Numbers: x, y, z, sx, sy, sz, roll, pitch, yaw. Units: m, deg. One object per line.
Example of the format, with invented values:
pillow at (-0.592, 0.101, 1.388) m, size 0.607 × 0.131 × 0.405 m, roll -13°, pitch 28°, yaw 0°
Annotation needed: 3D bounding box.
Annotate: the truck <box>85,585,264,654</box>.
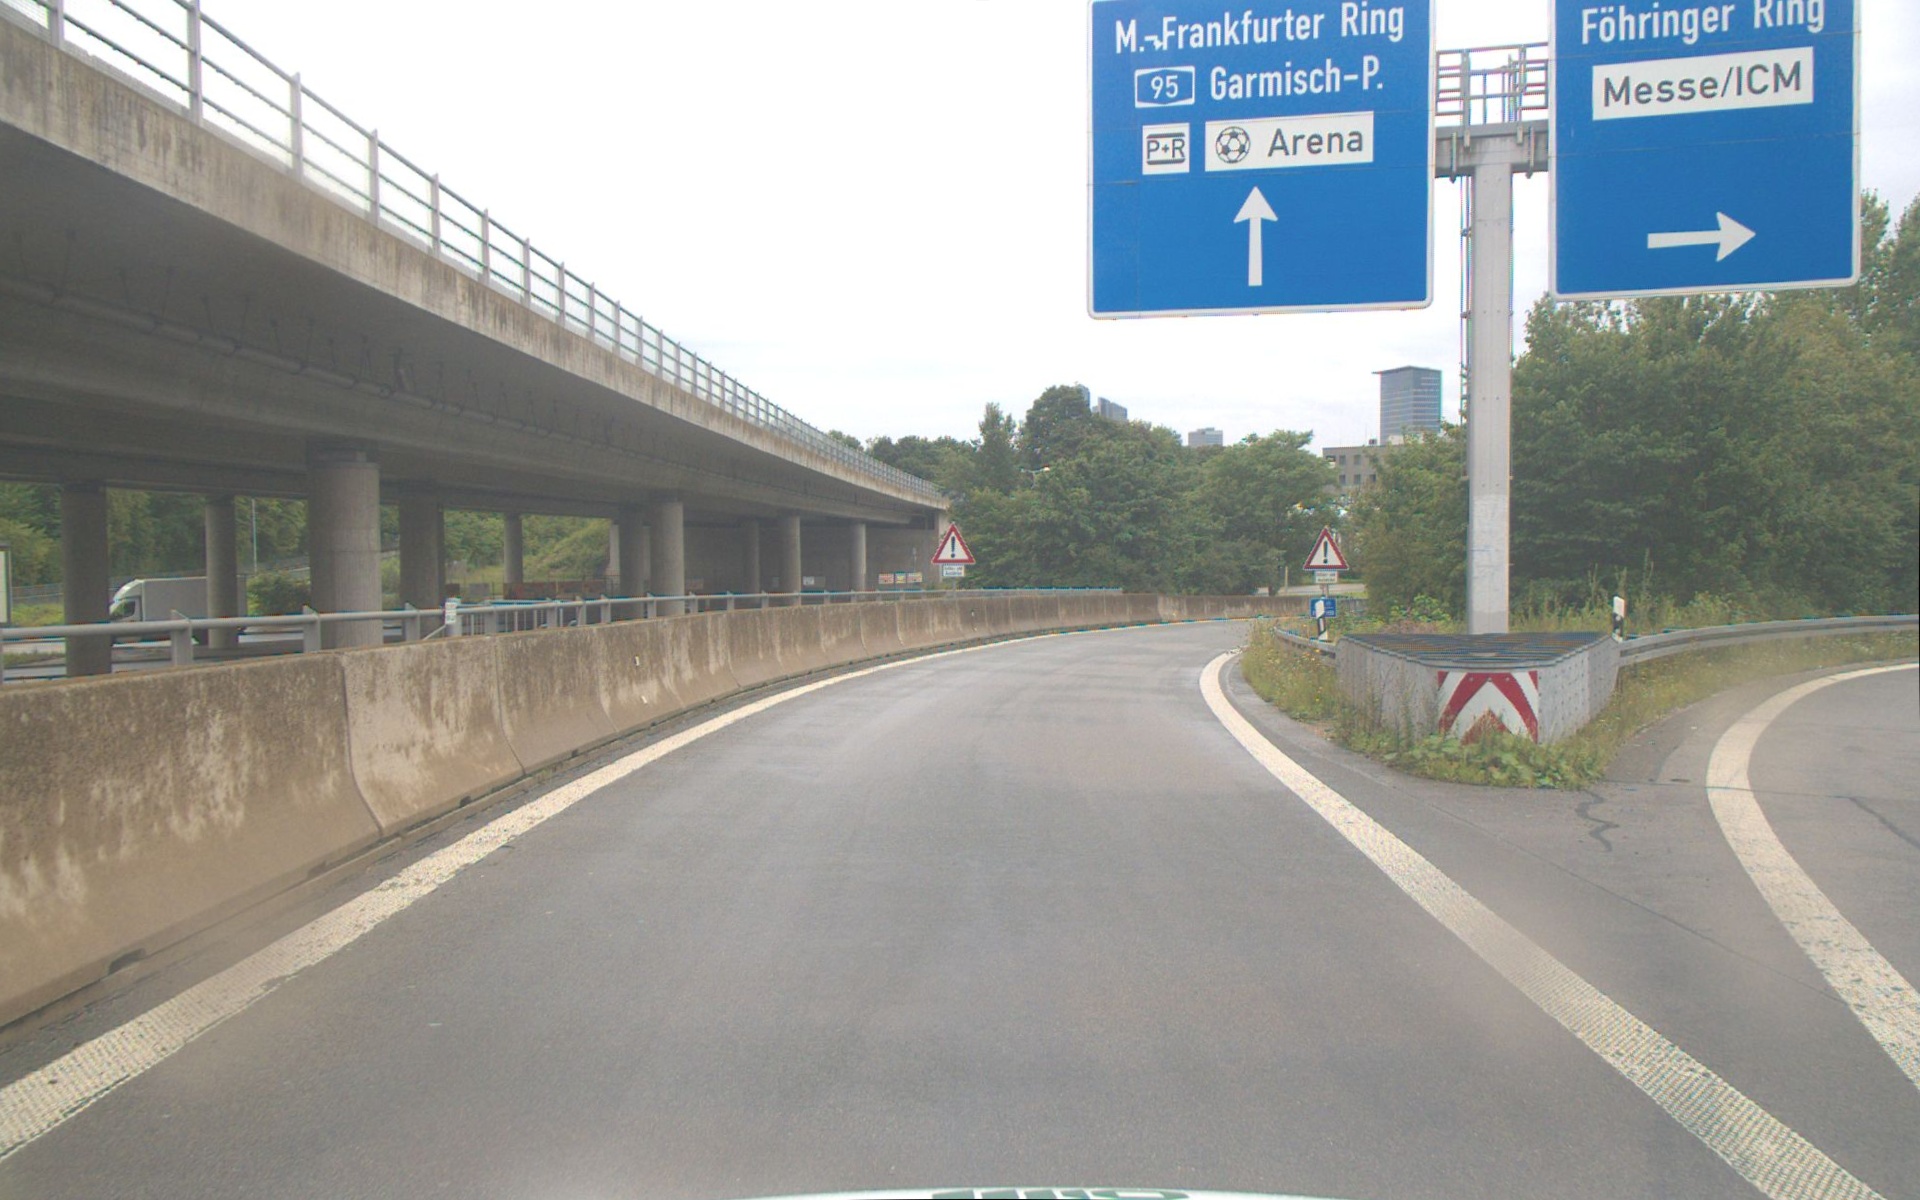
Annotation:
truck at (-35.762, 0.854, 75.456) m, size 7.149 × 3.029 × 2.232 m, roll 0°, pitch -1°, yaw -35°
